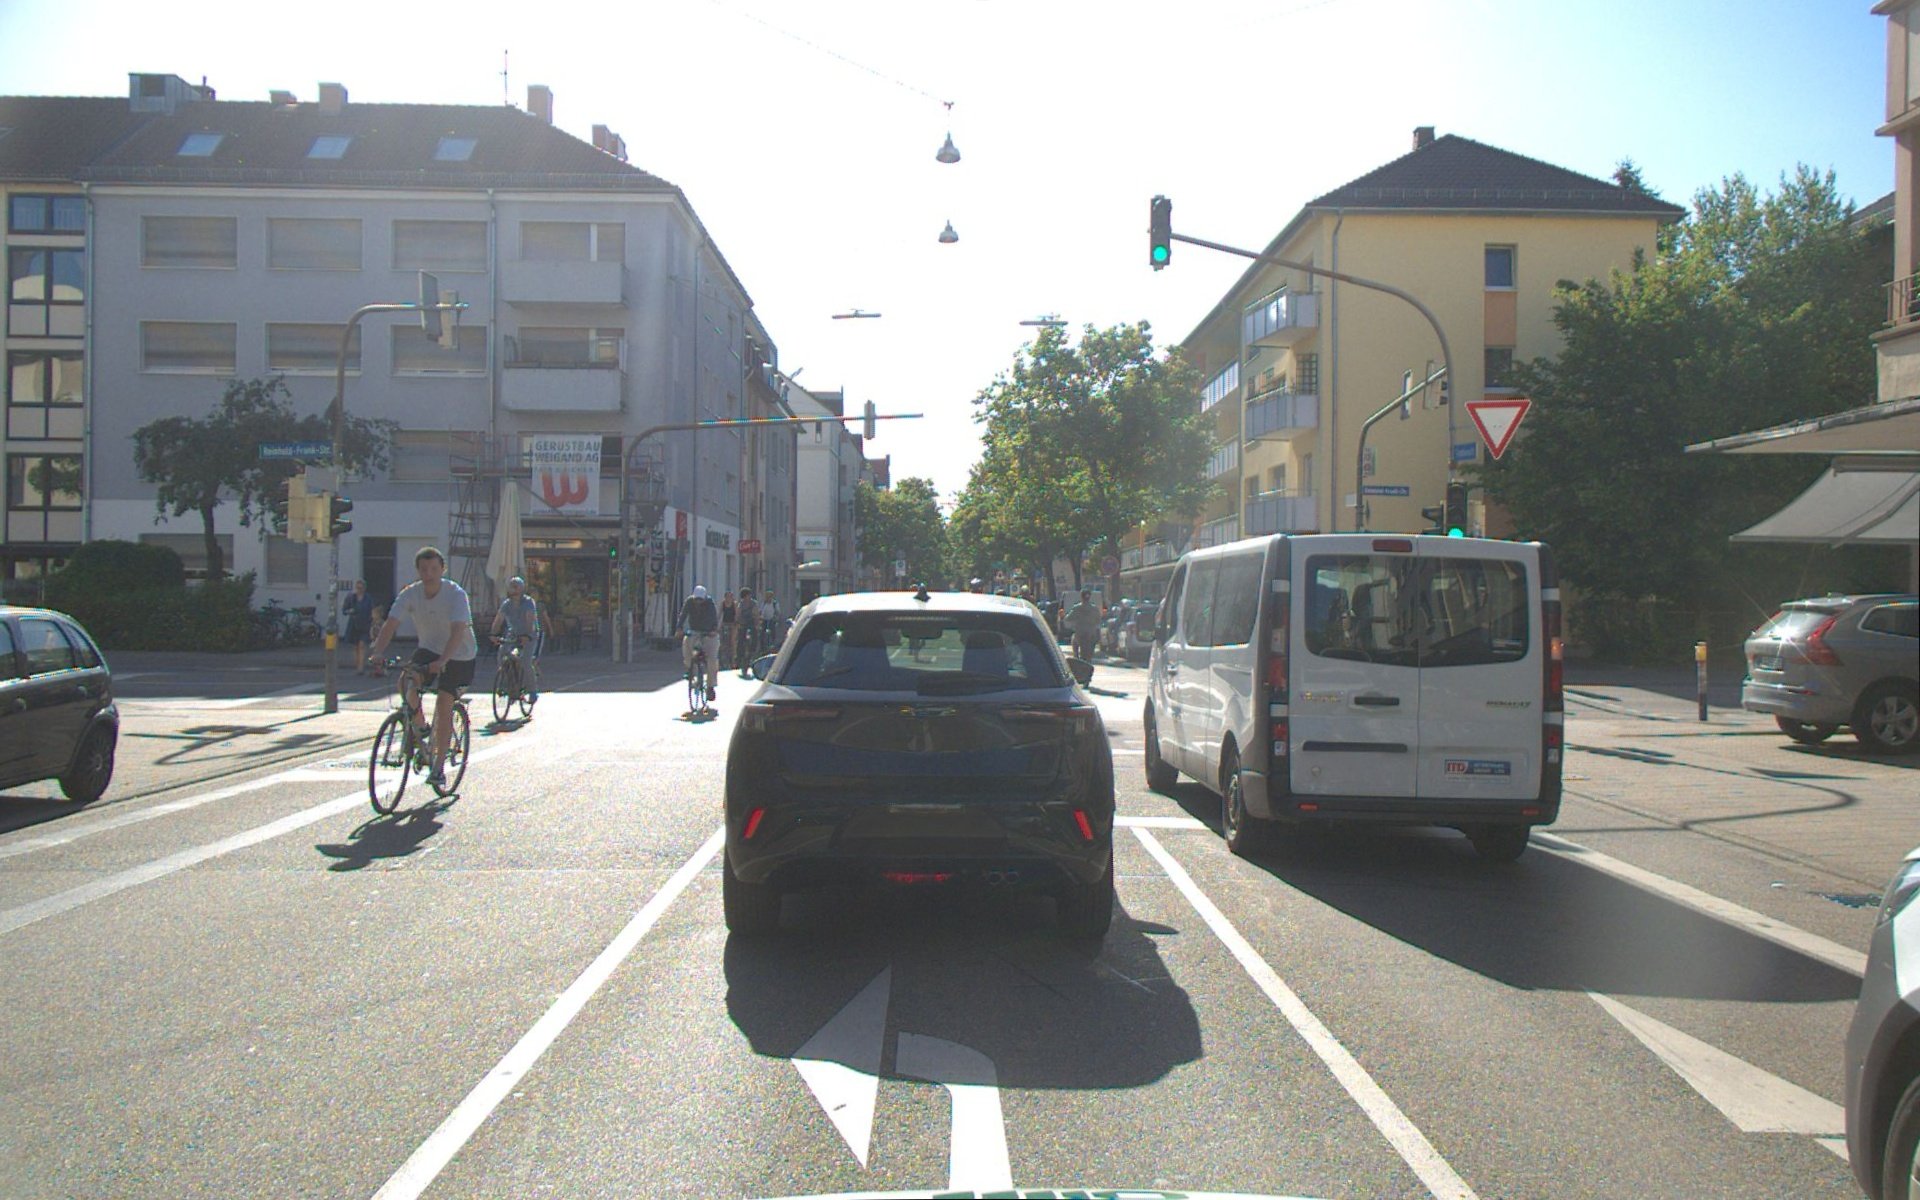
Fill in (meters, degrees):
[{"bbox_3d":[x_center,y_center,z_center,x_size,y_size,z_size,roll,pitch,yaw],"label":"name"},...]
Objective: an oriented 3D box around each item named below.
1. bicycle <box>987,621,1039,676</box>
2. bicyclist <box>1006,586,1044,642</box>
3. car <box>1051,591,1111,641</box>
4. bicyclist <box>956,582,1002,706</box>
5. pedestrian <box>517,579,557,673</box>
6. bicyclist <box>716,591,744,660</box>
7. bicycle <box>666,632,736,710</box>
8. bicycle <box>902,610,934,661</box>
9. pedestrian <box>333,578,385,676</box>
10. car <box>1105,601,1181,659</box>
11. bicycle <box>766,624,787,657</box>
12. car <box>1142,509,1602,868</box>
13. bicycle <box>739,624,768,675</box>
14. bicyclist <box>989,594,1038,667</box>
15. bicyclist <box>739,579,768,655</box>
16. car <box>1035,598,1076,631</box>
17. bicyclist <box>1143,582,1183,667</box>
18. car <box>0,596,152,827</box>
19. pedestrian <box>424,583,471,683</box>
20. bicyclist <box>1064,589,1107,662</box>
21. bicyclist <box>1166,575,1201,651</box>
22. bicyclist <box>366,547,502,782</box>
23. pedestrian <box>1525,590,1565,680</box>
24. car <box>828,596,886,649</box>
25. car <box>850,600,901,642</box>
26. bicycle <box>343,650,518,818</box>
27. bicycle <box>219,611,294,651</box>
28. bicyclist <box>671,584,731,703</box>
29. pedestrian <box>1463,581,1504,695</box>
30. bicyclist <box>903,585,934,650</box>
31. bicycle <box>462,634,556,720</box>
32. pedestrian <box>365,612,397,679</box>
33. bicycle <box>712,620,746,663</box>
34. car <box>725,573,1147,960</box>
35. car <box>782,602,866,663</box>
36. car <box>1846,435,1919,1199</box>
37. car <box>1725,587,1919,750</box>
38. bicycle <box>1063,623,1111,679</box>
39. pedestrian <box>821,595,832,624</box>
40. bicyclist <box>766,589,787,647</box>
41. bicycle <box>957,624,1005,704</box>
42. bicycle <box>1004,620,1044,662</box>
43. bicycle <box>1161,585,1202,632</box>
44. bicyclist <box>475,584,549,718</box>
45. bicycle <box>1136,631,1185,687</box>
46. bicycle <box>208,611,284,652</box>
[{"bbox_3d":[1.001,0.914,31.822,0.839,0.961,2.307,2,0,-1],"label":"bicycle"},{"bbox_3d":[1.609,0.348,41.091,0.839,1.337,1.210,2,0,-1],"label":"bicyclist"},{"bbox_3d":[4.657,0.584,64.281,2.004,1.879,4.584,0,0,0],"label":"car"},{"bbox_3d":[0.259,0.603,23.337,0.619,1.698,1.050,0,0,-1],"label":"bicyclist"},{"bbox_3d":[-7.306,0.440,28.601,0.520,1.609,0.563,0,0,2],"label":"pedestrian"},{"bbox_3d":[-5.204,0.579,37.515,0.531,1.547,0.774,0,0,-1],"label":"bicyclist"},{"bbox_3d":[-3.556,0.958,22.848,0.666,0.969,1.933,-1,0,-1],"label":"bicycle"},{"bbox_3d":[-1.085,0.903,43.055,0.785,1.277,2.138,0,0,0],"label":"bicycle"},{"bbox_3d":[-10.678,0.470,29.422,0.561,1.712,0.968,0,0,0],"label":"pedestrian"},{"bbox_3d":[5.002,0.798,45.610,1.677,1.509,3.479,0,0,0],"label":"car"},{"bbox_3d":[-5.036,1.099,45.278,0.543,0.848,2.128,1,0,-7],"label":"bicycle"},{"bbox_3d":[2.615,0.511,11.886,1.928,1.974,5.054,2,0,-1],"label":"car"},{"bbox_3d":[-3.934,0.926,31.473,0.532,0.918,1.823,0,0,-7],"label":"bicycle"},{"bbox_3d":[1.019,0.573,31.760,0.839,1.337,1.210,2,0,-1],"label":"bicyclist"},{"bbox_3d":[-3.932,0.321,31.512,0.532,1.415,0.787,0,0,-8],"label":"bicyclist"},{"bbox_3d":[4.416,0.651,76.506,1.677,1.509,3.380,0,0,0],"label":"car"},{"bbox_3d":[3.393,0.404,27.697,0.576,1.406,0.823,0,0,0],"label":"bicyclist"},{"bbox_3d":[-7.123,0.722,10.996,1.657,1.473,3.855,3,0,-2],"label":"car"},{"bbox_3d":[-8.957,0.568,28.917,0.561,1.718,0.670,0,0,6],"label":"pedestrian"},{"bbox_3d":[2.110,0.430,27.880,0.678,1.214,0.595,0,0,0],"label":"bicyclist"},{"bbox_3d":[4.194,0.233,31.076,0.535,1.406,0.823,0,0,0],"label":"bicyclist"},{"bbox_3d":[-3.824,0.454,12.088,0.702,1.648,0.946,0,-1,-1],"label":"bicyclist"},{"bbox_3d":[10.502,0.618,29.698,0.528,1.598,0.539,0,0,-1],"label":"pedestrian"},{"bbox_3d":[-3.192,0.692,51.681,1.559,1.593,4.088,0,-1,0],"label":"car"},{"bbox_3d":[-3.110,0.731,60.663,1.769,1.437,4.423,-1,0,-3],"label":"car"},{"bbox_3d":[-3.833,0.935,12.133,0.702,1.082,1.872,0,0,-1],"label":"bicycle"},{"bbox_3d":[-16.658,0.731,39.193,1.556,0.956,0.512,0,0,1],"label":"bicycle"},{"bbox_3d":[-3.556,0.586,22.779,0.666,1.604,0.899,-1,0,-1],"label":"bicyclist"},{"bbox_3d":[8.672,0.618,27.412,0.591,1.854,0.629,0,0,12],"label":"pedestrian"},{"bbox_3d":[-1.086,0.441,43.094,0.785,1.678,1.125,0,0,-1],"label":"bicyclist"},{"bbox_3d":[-5.697,0.952,20.972,0.666,0.969,1.933,-1,0,-1],"label":"bicycle"},{"bbox_3d":[-10.169,0.797,29.045,0.378,1.166,0.531,0,0,-2],"label":"pedestrian"},{"bbox_3d":[-5.210,0.936,37.401,0.531,0.918,1.826,0,0,-1],"label":"bicycle"},{"bbox_3d":[-0.127,0.695,8.807,1.726,1.586,3.999,0,0,-1],"label":"car"},{"bbox_3d":[-3.384,0.784,41.856,1.799,1.459,4.176,0,0,0],"label":"car"},{"bbox_3d":[3.025,0.577,1.323,1.928,1.842,4.831,0,0,-2],"label":"car"},{"bbox_3d":[10.791,0.722,18.212,3.905,1.691,1.825,0,0,-1],"label":"car"},{"bbox_3d":[2.116,0.845,27.822,0.677,0.881,1.876,0,0,0],"label":"bicycle"},{"bbox_3d":[-7.418,0.503,91.906,0.566,1.610,0.707,0,0,-6],"label":"pedestrian"},{"bbox_3d":[-5.027,0.497,45.370,0.543,1.576,0.813,1,0,-7],"label":"bicyclist"},{"bbox_3d":[0.280,0.886,23.372,0.619,1.059,1.795,0,0,-1],"label":"bicycle"},{"bbox_3d":[1.582,1.003,41.184,0.839,0.961,2.307,2,0,-1],"label":"bicycle"},{"bbox_3d":[4.217,0.155,31.594,0.535,0.881,1.876,0,0,0],"label":"bicycle"},{"bbox_3d":[-5.700,0.634,21.075,0.666,1.659,0.899,-1,0,-1],"label":"bicyclist"},{"bbox_3d":[3.391,0.983,28.054,0.607,0.881,1.876,0,0,0],"label":"bicycle"},{"bbox_3d":[-16.611,0.728,38.495,1.556,0.956,0.512,0,0,1],"label":"bicycle"}]
